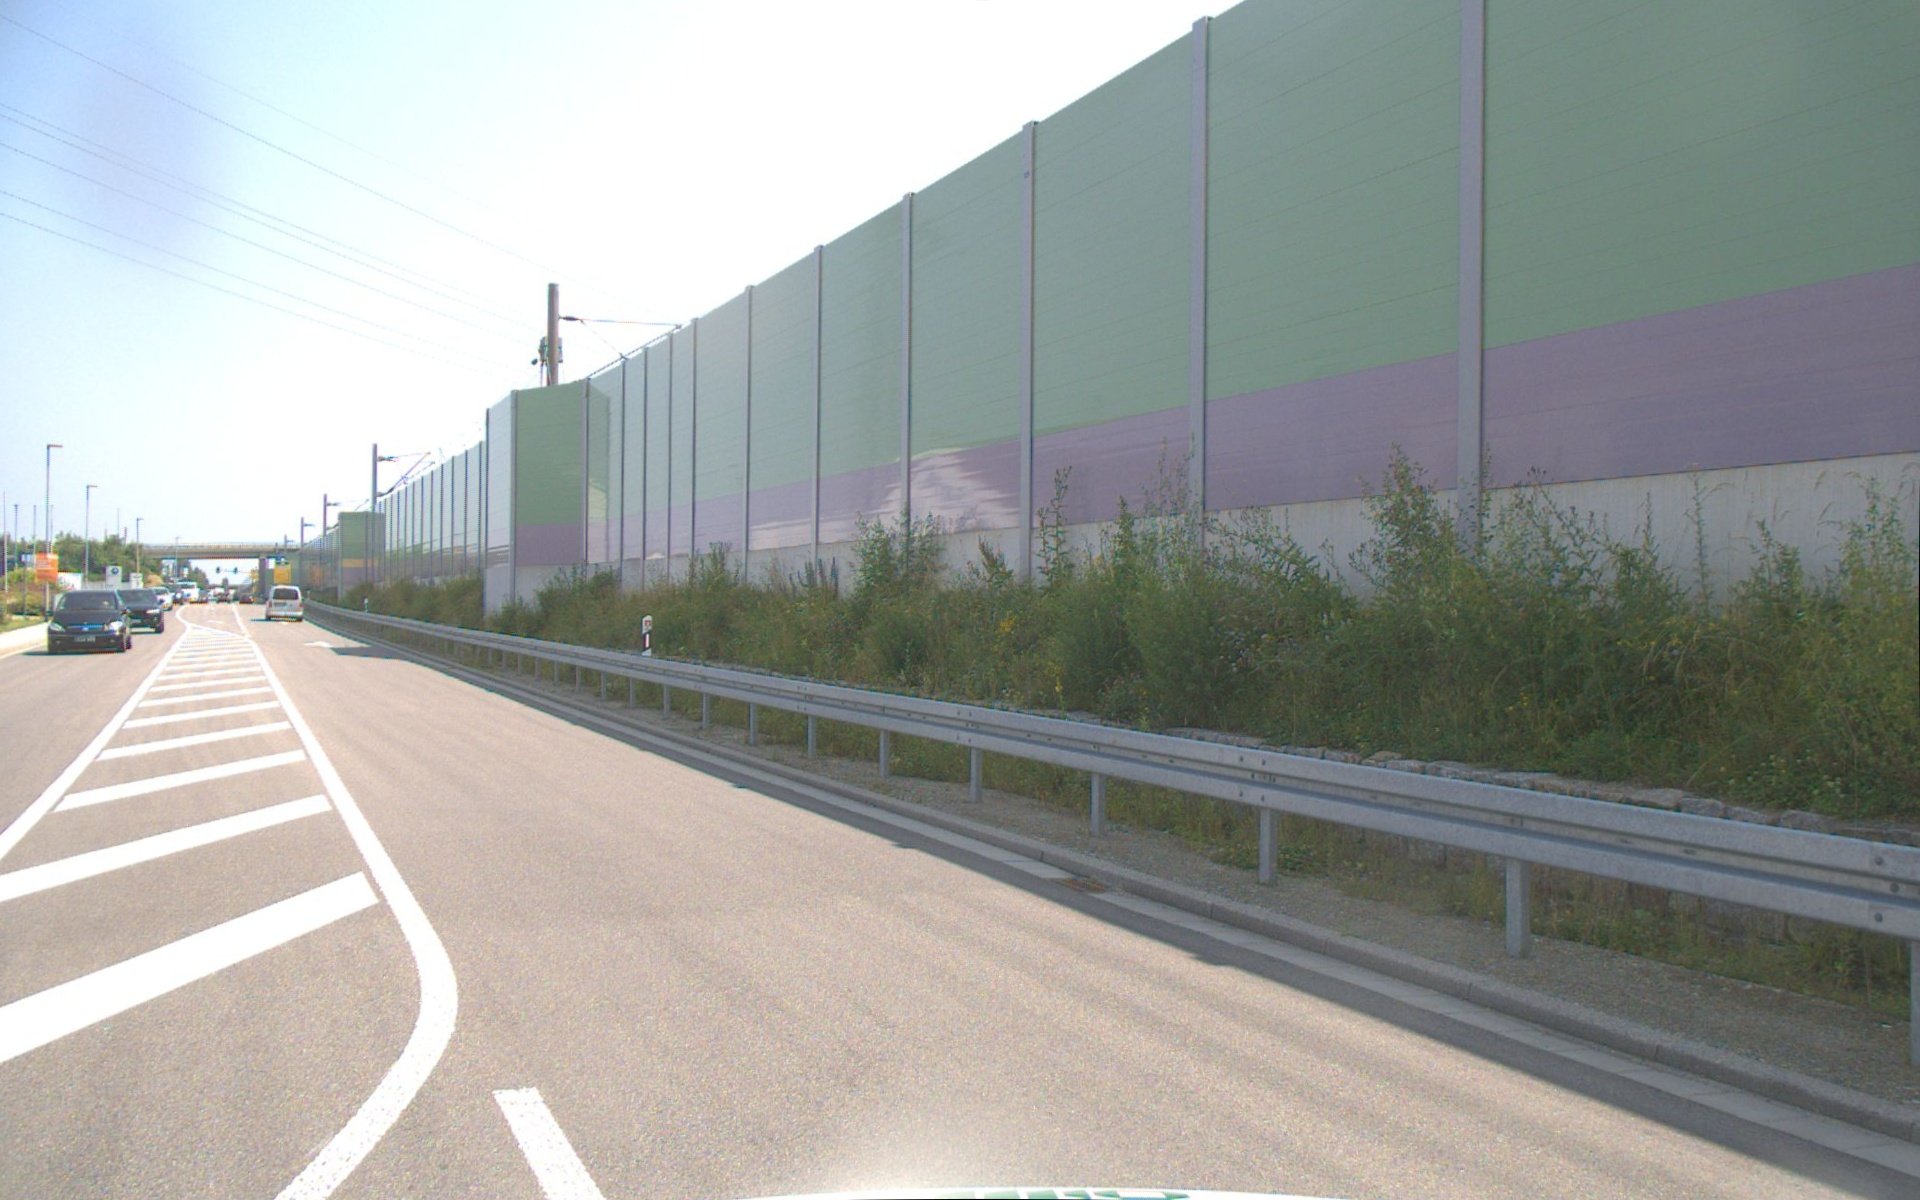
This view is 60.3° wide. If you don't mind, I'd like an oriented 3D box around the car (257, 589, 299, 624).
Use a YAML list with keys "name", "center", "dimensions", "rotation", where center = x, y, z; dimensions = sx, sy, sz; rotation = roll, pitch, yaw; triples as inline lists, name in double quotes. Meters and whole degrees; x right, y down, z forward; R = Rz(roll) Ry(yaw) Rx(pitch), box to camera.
- name: "car"
  center: [-35.552, 0.313, 86.282]
  dimensions: [1.966, 1.788, 3.972]
  rotation: [1, 0, -22]

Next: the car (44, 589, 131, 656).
- name: "car"
  center: [-22.752, 0.558, 43.254]
  dimensions: [1.719, 1.621, 3.767]
  rotation: [-2, 1, -24]

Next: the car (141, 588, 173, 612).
- name: "car"
  center: [-51.232, -0.024, 105.588]
  dimensions: [1.742, 1.491, 4.225]
  rotation: [-1, 1, -25]

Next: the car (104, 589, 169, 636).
- name: "car"
  center: [-30.803, 0.448, 61.962]
  dimensions: [1.856, 1.645, 4.489]
  rotation: [-2, 1, -23]

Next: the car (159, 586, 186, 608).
- name: "car"
  center: [-58.929, -0.228, 123.805]
  dimensions: [1.647, 1.628, 3.942]
  rotation: [-1, 1, -24]
